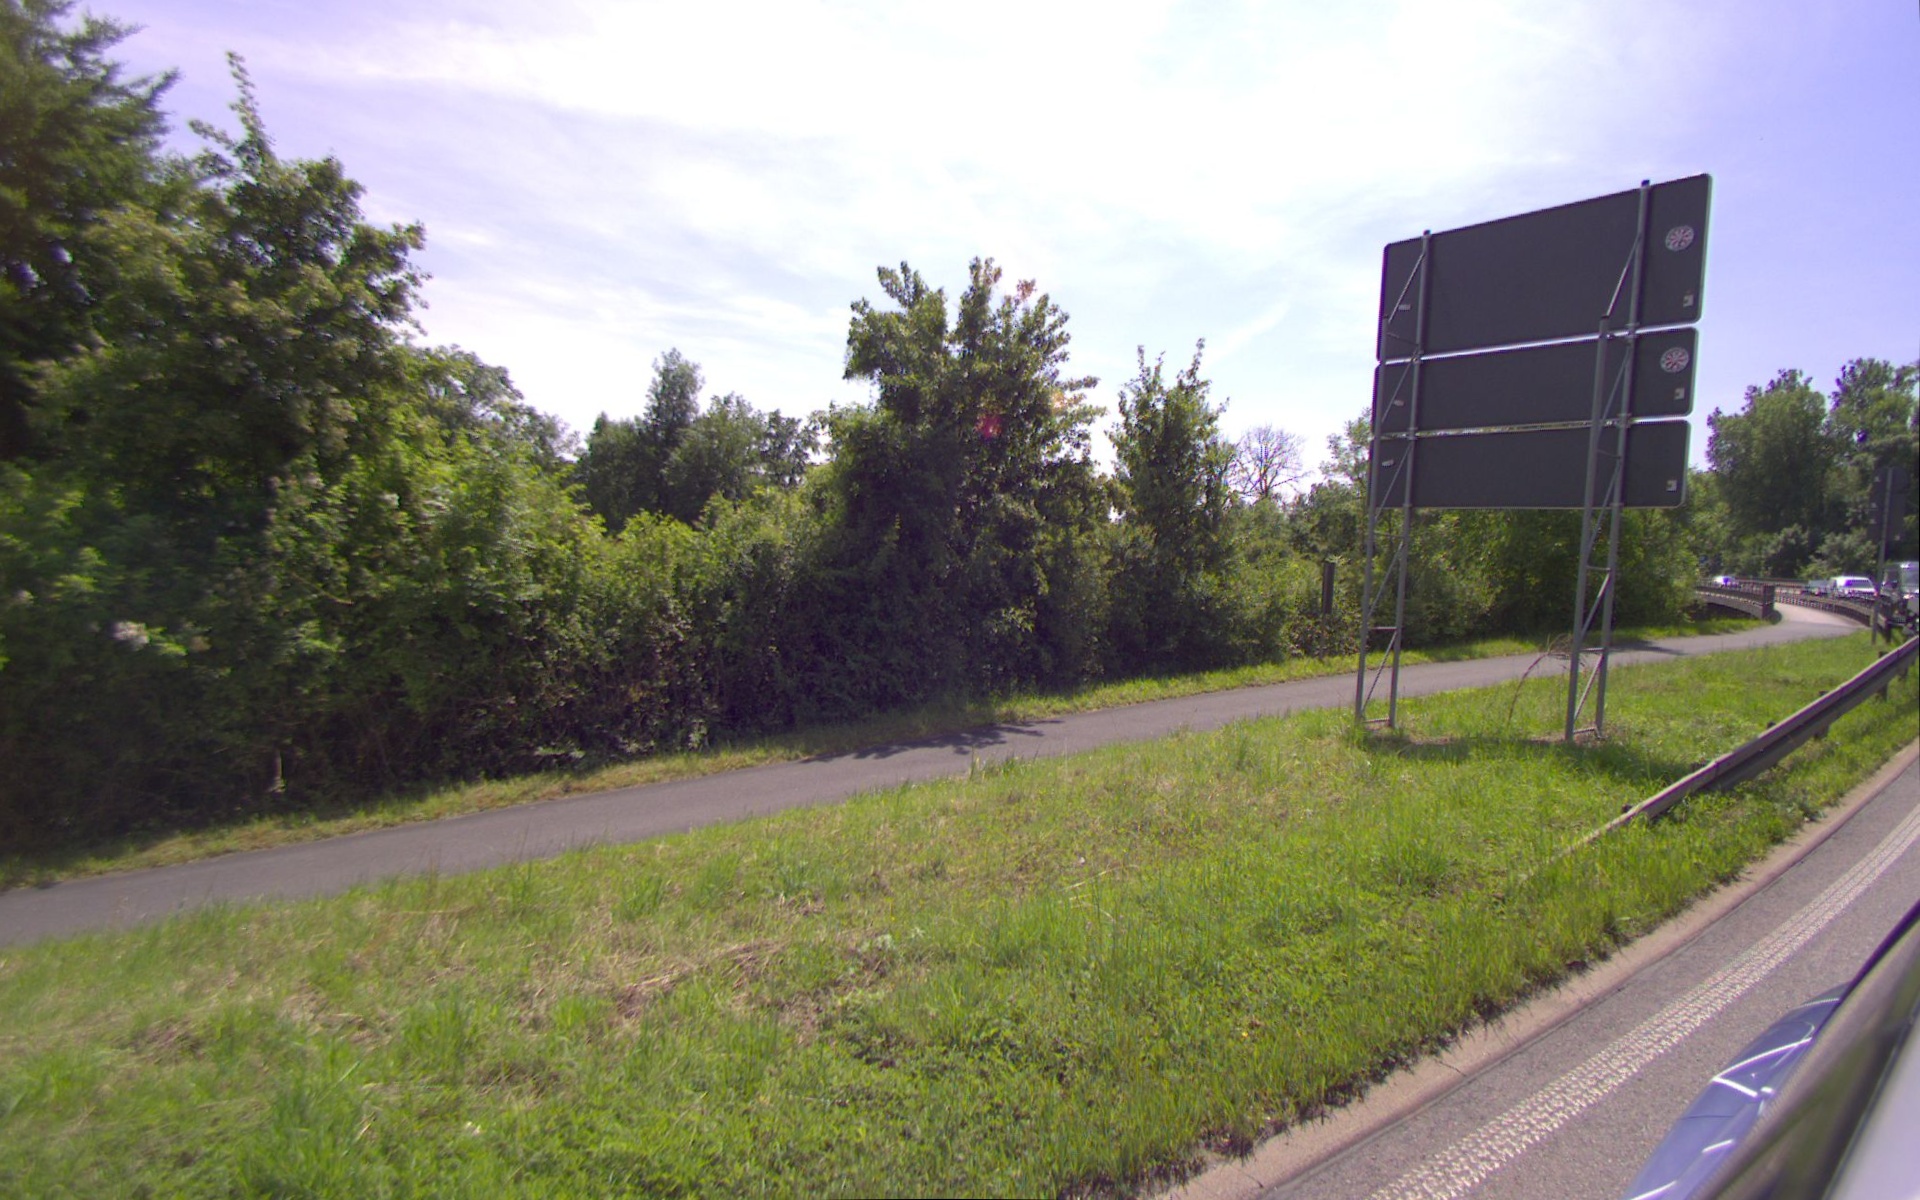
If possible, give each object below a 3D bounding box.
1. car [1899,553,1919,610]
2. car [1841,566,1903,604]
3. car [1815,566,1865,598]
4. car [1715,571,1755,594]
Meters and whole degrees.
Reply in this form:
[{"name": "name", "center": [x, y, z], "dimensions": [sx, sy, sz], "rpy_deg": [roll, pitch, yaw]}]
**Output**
[{"name": "car", "center": [44.366, -0.888, 46.049], "dimensions": [1.989, 2.515, 4.794], "rpy_deg": [0, 2, 38]}, {"name": "car", "center": [53.018, -0.909, 58.919], "dimensions": [1.986, 2.038, 4.657], "rpy_deg": [0, 2, 34]}, {"name": "car", "center": [60.380, -1.259, 69.480], "dimensions": [1.985, 2.038, 3.955], "rpy_deg": [0, 2, 33]}, {"name": "car", "center": [73.159, -1.649, 95.606], "dimensions": [1.977, 2.038, 3.971], "rpy_deg": [-1, 2, 23]}]
